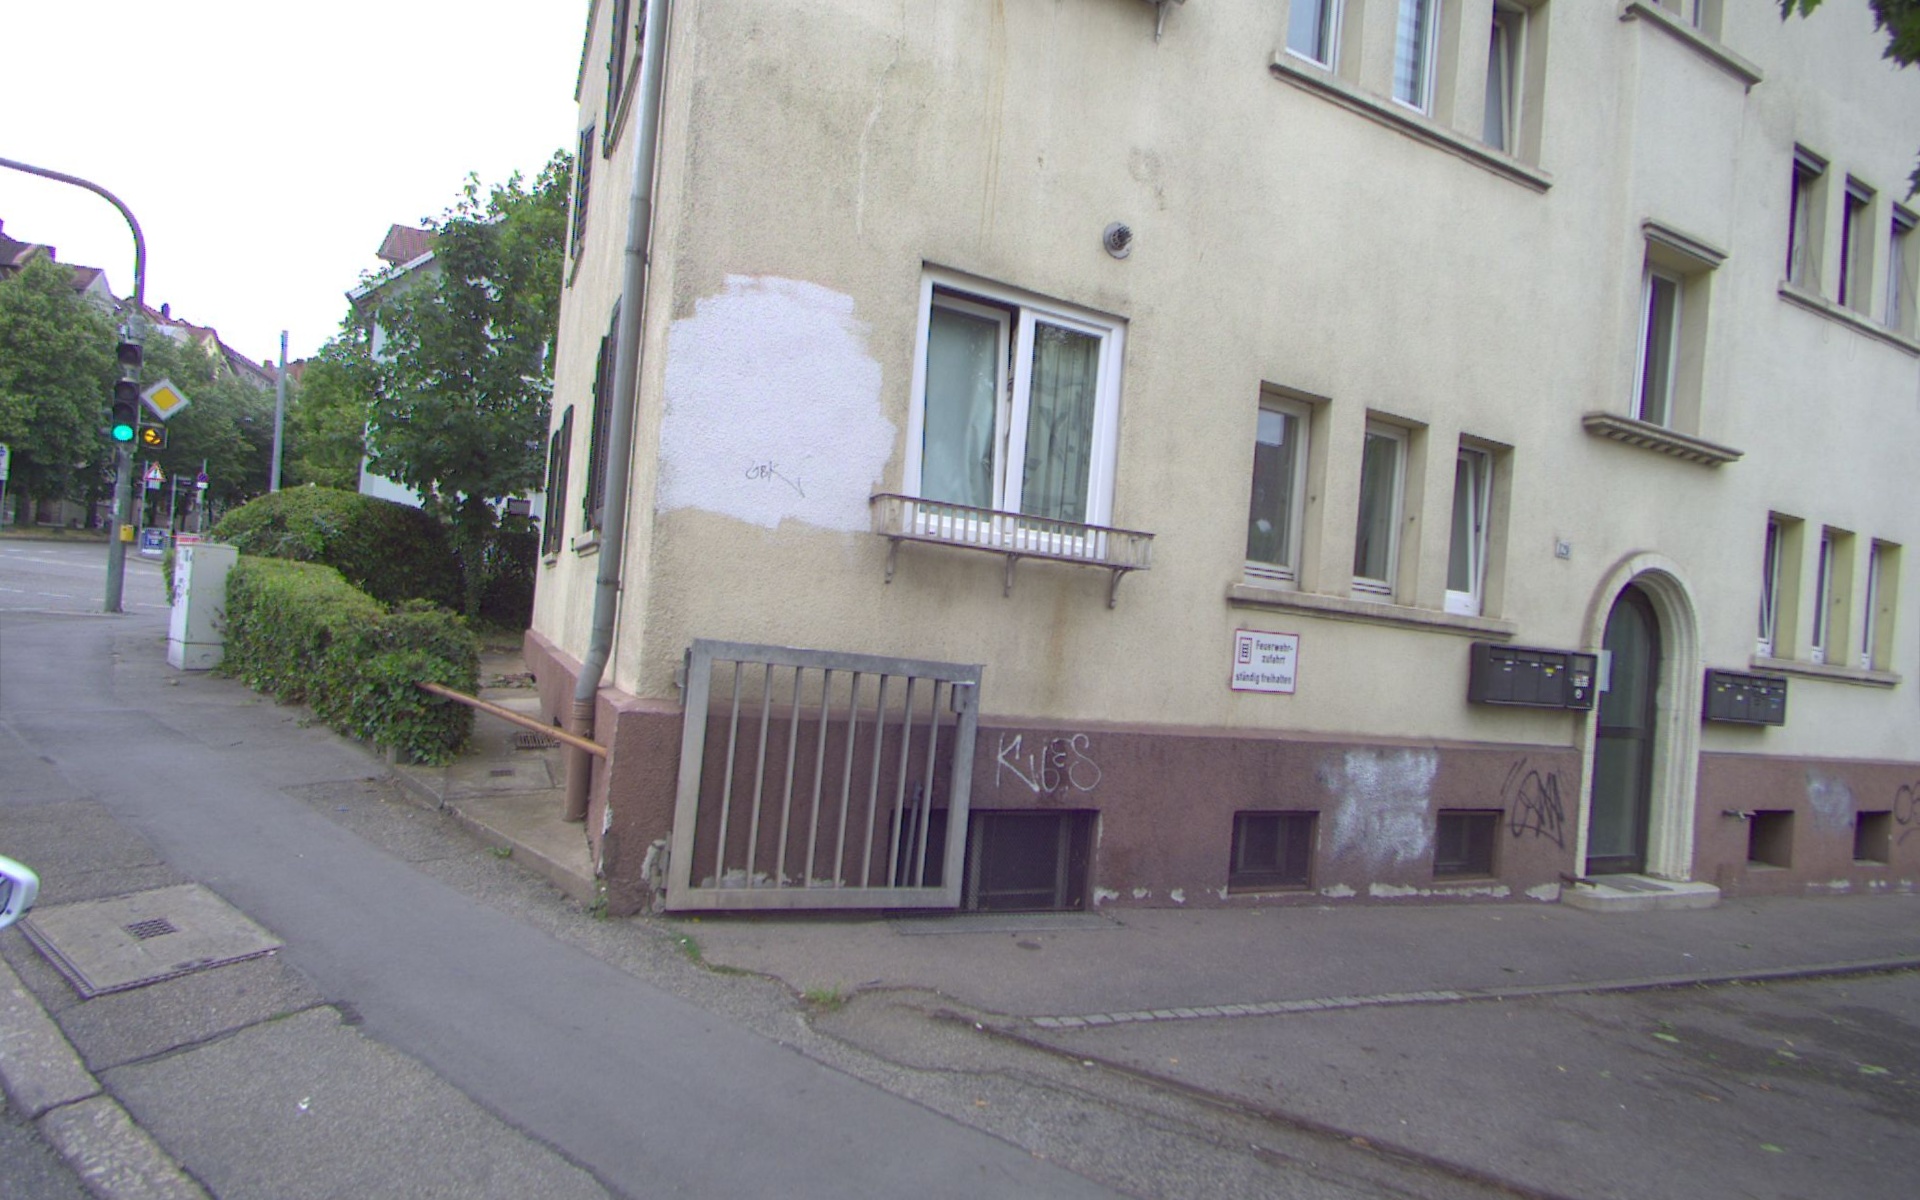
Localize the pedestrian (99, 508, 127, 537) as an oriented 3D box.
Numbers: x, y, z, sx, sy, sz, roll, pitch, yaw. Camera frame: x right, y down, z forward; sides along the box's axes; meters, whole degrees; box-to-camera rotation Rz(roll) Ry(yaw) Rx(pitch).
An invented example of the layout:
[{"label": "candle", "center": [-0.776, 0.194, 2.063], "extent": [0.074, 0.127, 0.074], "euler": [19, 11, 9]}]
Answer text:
[{"label": "pedestrian", "center": [-66.189, -6.060, 78.627], "extent": [1.179, 2.038, 0.985], "euler": [7, 0, -19]}]
